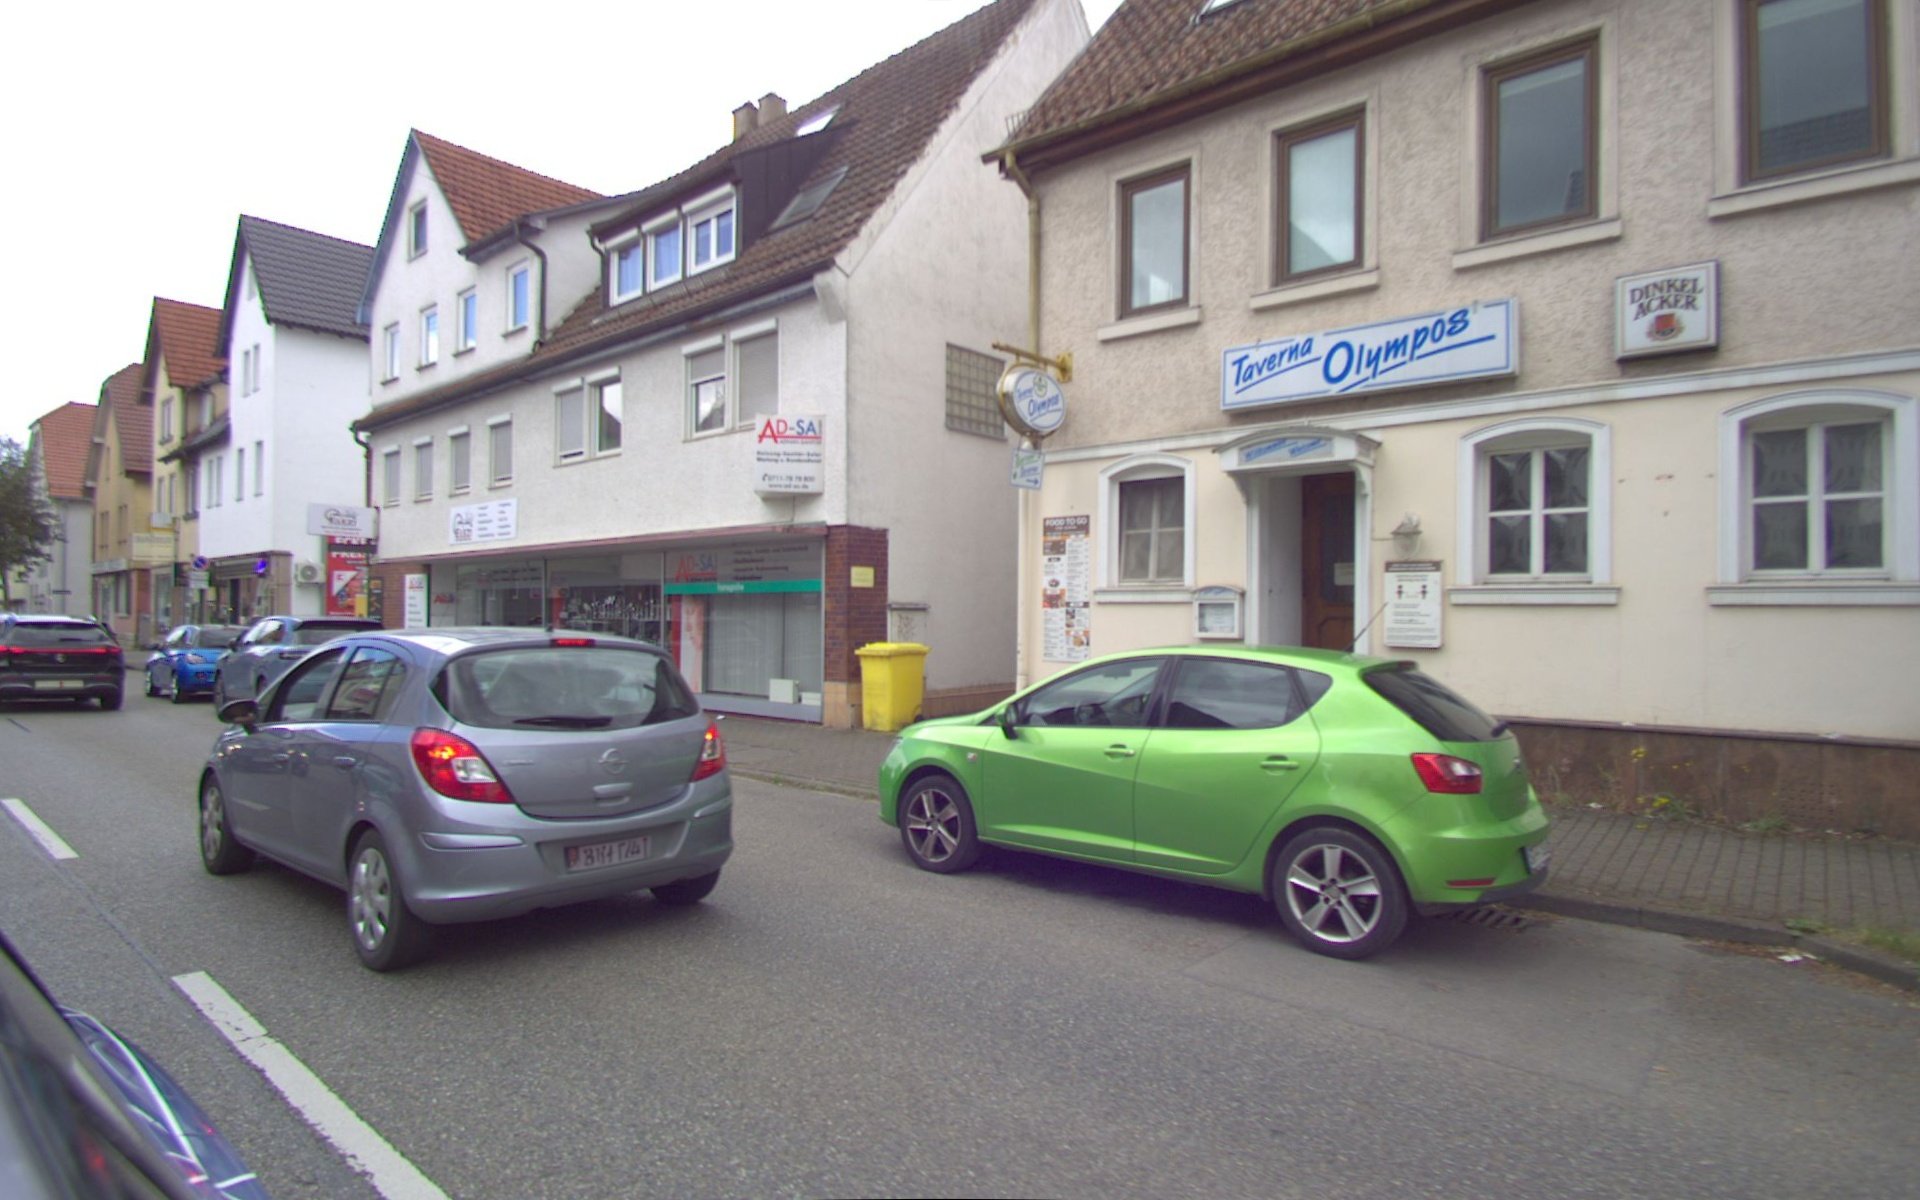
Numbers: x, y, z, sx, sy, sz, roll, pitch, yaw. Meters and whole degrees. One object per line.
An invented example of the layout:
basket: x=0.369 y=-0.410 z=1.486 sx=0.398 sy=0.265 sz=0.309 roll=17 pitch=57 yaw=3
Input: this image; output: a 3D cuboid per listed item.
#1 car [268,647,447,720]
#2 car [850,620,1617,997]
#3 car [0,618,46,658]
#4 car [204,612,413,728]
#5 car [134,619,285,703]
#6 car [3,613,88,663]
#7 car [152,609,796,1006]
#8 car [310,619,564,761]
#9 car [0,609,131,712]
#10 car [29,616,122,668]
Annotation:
car: x=-17.055 y=2.286 z=28.775 sx=1.998 sy=1.715 sz=3.947 roll=-1 pitch=0 yaw=39
car: x=1.368 y=0.877 z=5.929 sx=4.016 sy=1.458 sz=1.665 roll=-1 pitch=-3 yaw=39
car: x=-35.631 y=1.391 z=37.826 sx=3.928 sy=1.435 sz=1.665 roll=-1 pitch=-3 yaw=41
car: x=-10.521 y=1.021 z=16.206 sx=4.304 sy=1.611 sz=1.783 roll=-1 pitch=-3 yaw=43
car: x=-15.044 y=1.152 z=20.224 sx=3.774 sy=1.511 sz=1.664 roll=-1 pitch=-3 yaw=42
car: x=-31.266 y=1.273 z=34.573 sx=4.112 sy=1.578 sz=1.691 roll=-1 pitch=-3 yaw=42
car: x=-2.905 y=0.806 z=5.661 sx=4.016 sy=1.458 sz=1.666 roll=-1 pitch=-3 yaw=39
car: x=-6.696 y=1.029 z=12.807 sx=3.811 sy=1.519 sz=1.565 roll=-1 pitch=-3 yaw=42
car: x=-15.953 y=0.987 z=17.527 sx=4.190 sy=1.591 sz=1.776 roll=-1 pitch=-3 yaw=42
car: x=-27.047 y=1.258 z=30.917 sx=3.590 sy=1.504 sz=1.664 roll=-1 pitch=-3 yaw=42
